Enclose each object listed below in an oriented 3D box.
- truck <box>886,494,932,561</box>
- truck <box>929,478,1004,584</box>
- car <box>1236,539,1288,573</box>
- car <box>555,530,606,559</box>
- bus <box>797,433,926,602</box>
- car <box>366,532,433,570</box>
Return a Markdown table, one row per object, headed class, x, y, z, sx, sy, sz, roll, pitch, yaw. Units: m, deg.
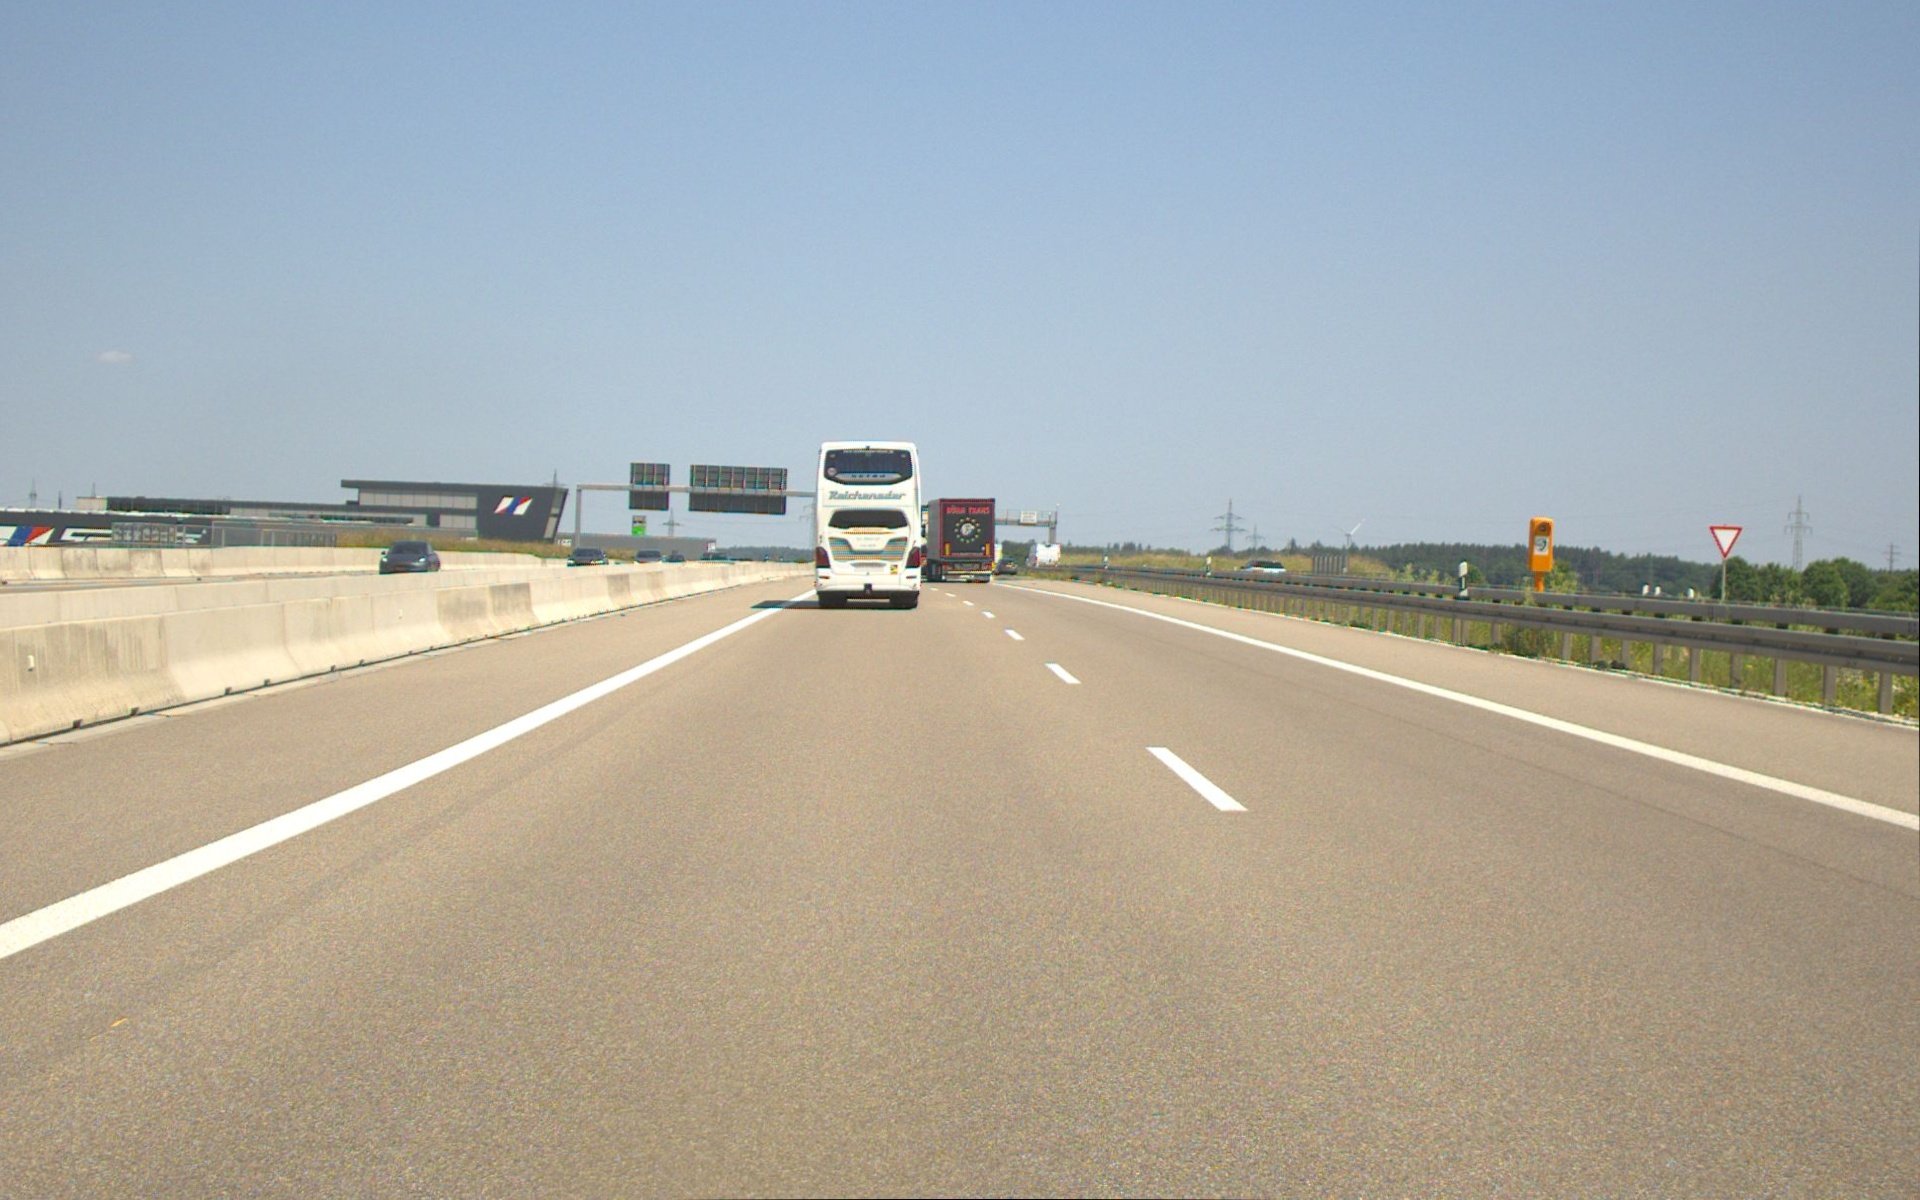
| class | x | y | z | sx | sy | sz | roll | pitch | yaw |
| --- | --- | --- | --- | --- | --- | --- | --- | --- | --- |
| truck | -2.987 | -4.202 | 199.800 | 2.437 | 3.776 | 6.494 | 1 | 1 | -2 |
| truck | 0.357 | -3.251 | 166.897 | 3.379 | 4.449 | 13.566 | 1 | -1 | 0 |
| car | 14.004 | -2.050 | 159.513 | 1.891 | 1.524 | 4.262 | 1 | 1 | -2 |
| car | -18.875 | -2.758 | 171.190 | 1.912 | 1.415 | 4.908 | 1 | 1 | 1 |
| bus | -2.514 | -2.043 | 86.161 | 2.980 | 3.961 | 9.106 | 1 | 1 | -2 |
| car | -21.719 | -1.904 | 133.288 | 1.911 | 1.415 | 4.550 | 1 | 1 | -1 |
